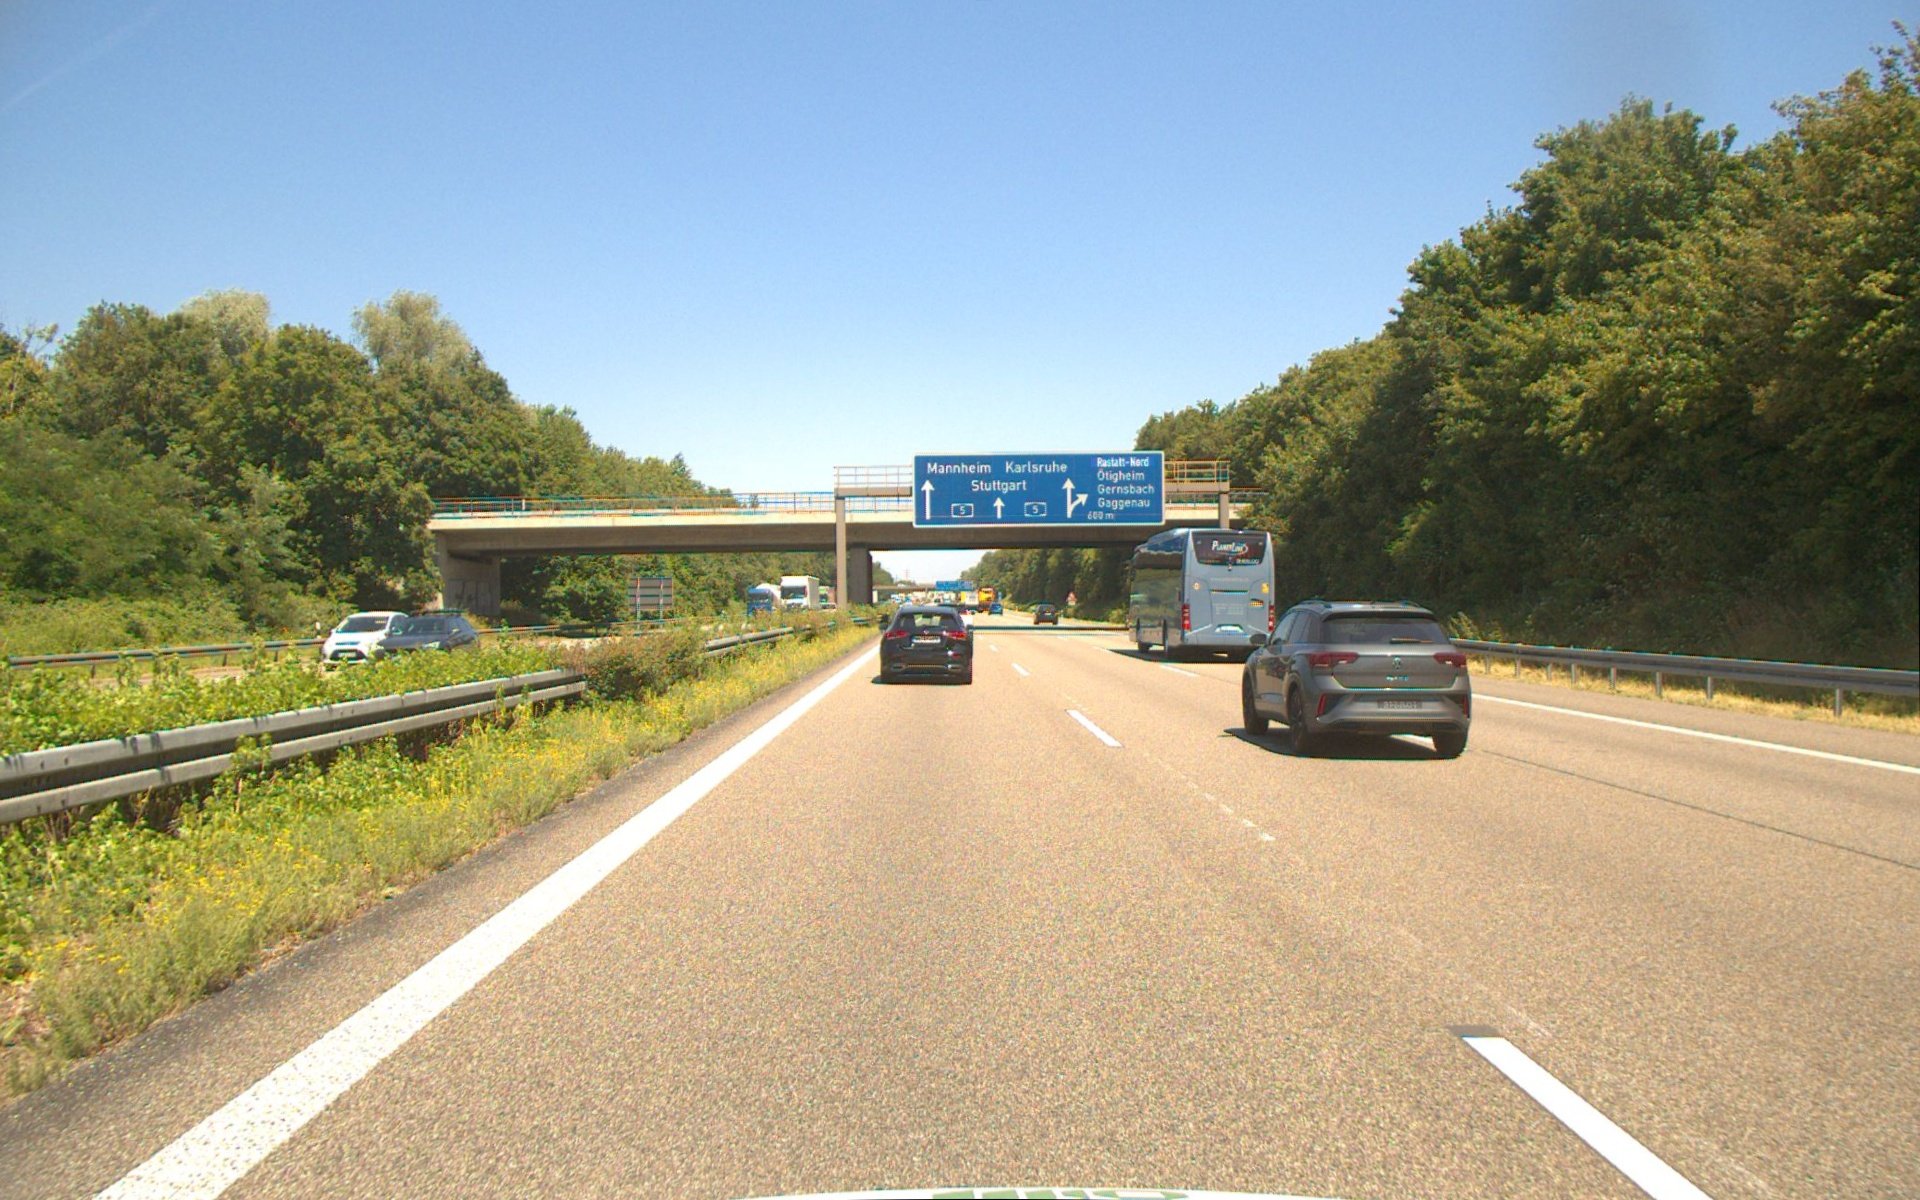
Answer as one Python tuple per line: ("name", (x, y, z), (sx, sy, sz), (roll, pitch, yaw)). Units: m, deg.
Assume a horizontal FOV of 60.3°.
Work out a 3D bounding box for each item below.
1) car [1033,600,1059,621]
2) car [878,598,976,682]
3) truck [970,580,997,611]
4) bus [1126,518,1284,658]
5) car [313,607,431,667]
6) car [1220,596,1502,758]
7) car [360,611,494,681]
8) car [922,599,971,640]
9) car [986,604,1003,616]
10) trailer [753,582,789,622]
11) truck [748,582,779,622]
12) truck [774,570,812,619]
("car", (6.389, 0.767, 123.344), (1.753, 1.487, 3.949), (0, 0, 0))
("car", (-0.660, 0.727, 32.185), (1.763, 1.528, 4.240), (0, 0, -2))
("truck", (3.730, -0.616, 263.144), (3.574, 4.670, 15.760), (1, 0, -2))
("bus", (7.028, -0.293, 49.407), (2.745, 3.659, 12.472), (0, 0, -1))
("car", (-17.194, 1.035, 48.627), (1.861, 1.621, 4.741), (-2, 0, -2))
("car", (4.257, 0.749, 18.398), (1.861, 1.559, 4.758), (0, 0, -2))
("car", (-13.602, 1.130, 42.566), (1.861, 1.559, 5.030), (-4, 0, -2))
("car", (-0.581, 0.766, 66.757), (1.861, 1.559, 4.240), (0, 0, -2))
("car", (4.392, 1.293, 212.511), (2.038, 1.559, 4.241), (0, 0, 0))
("trailer", (-19.419, 0.190, 170.437), (2.311, 3.860, 12.072), (-2, 0, -1))
("truck", (-19.339, 0.194, 163.029), (2.312, 3.841, 5.251), (-2, 0, -1))
("truck", (-15.260, -0.461, 151.318), (2.771, 4.285, 5.888), (-2, 0, -1))
